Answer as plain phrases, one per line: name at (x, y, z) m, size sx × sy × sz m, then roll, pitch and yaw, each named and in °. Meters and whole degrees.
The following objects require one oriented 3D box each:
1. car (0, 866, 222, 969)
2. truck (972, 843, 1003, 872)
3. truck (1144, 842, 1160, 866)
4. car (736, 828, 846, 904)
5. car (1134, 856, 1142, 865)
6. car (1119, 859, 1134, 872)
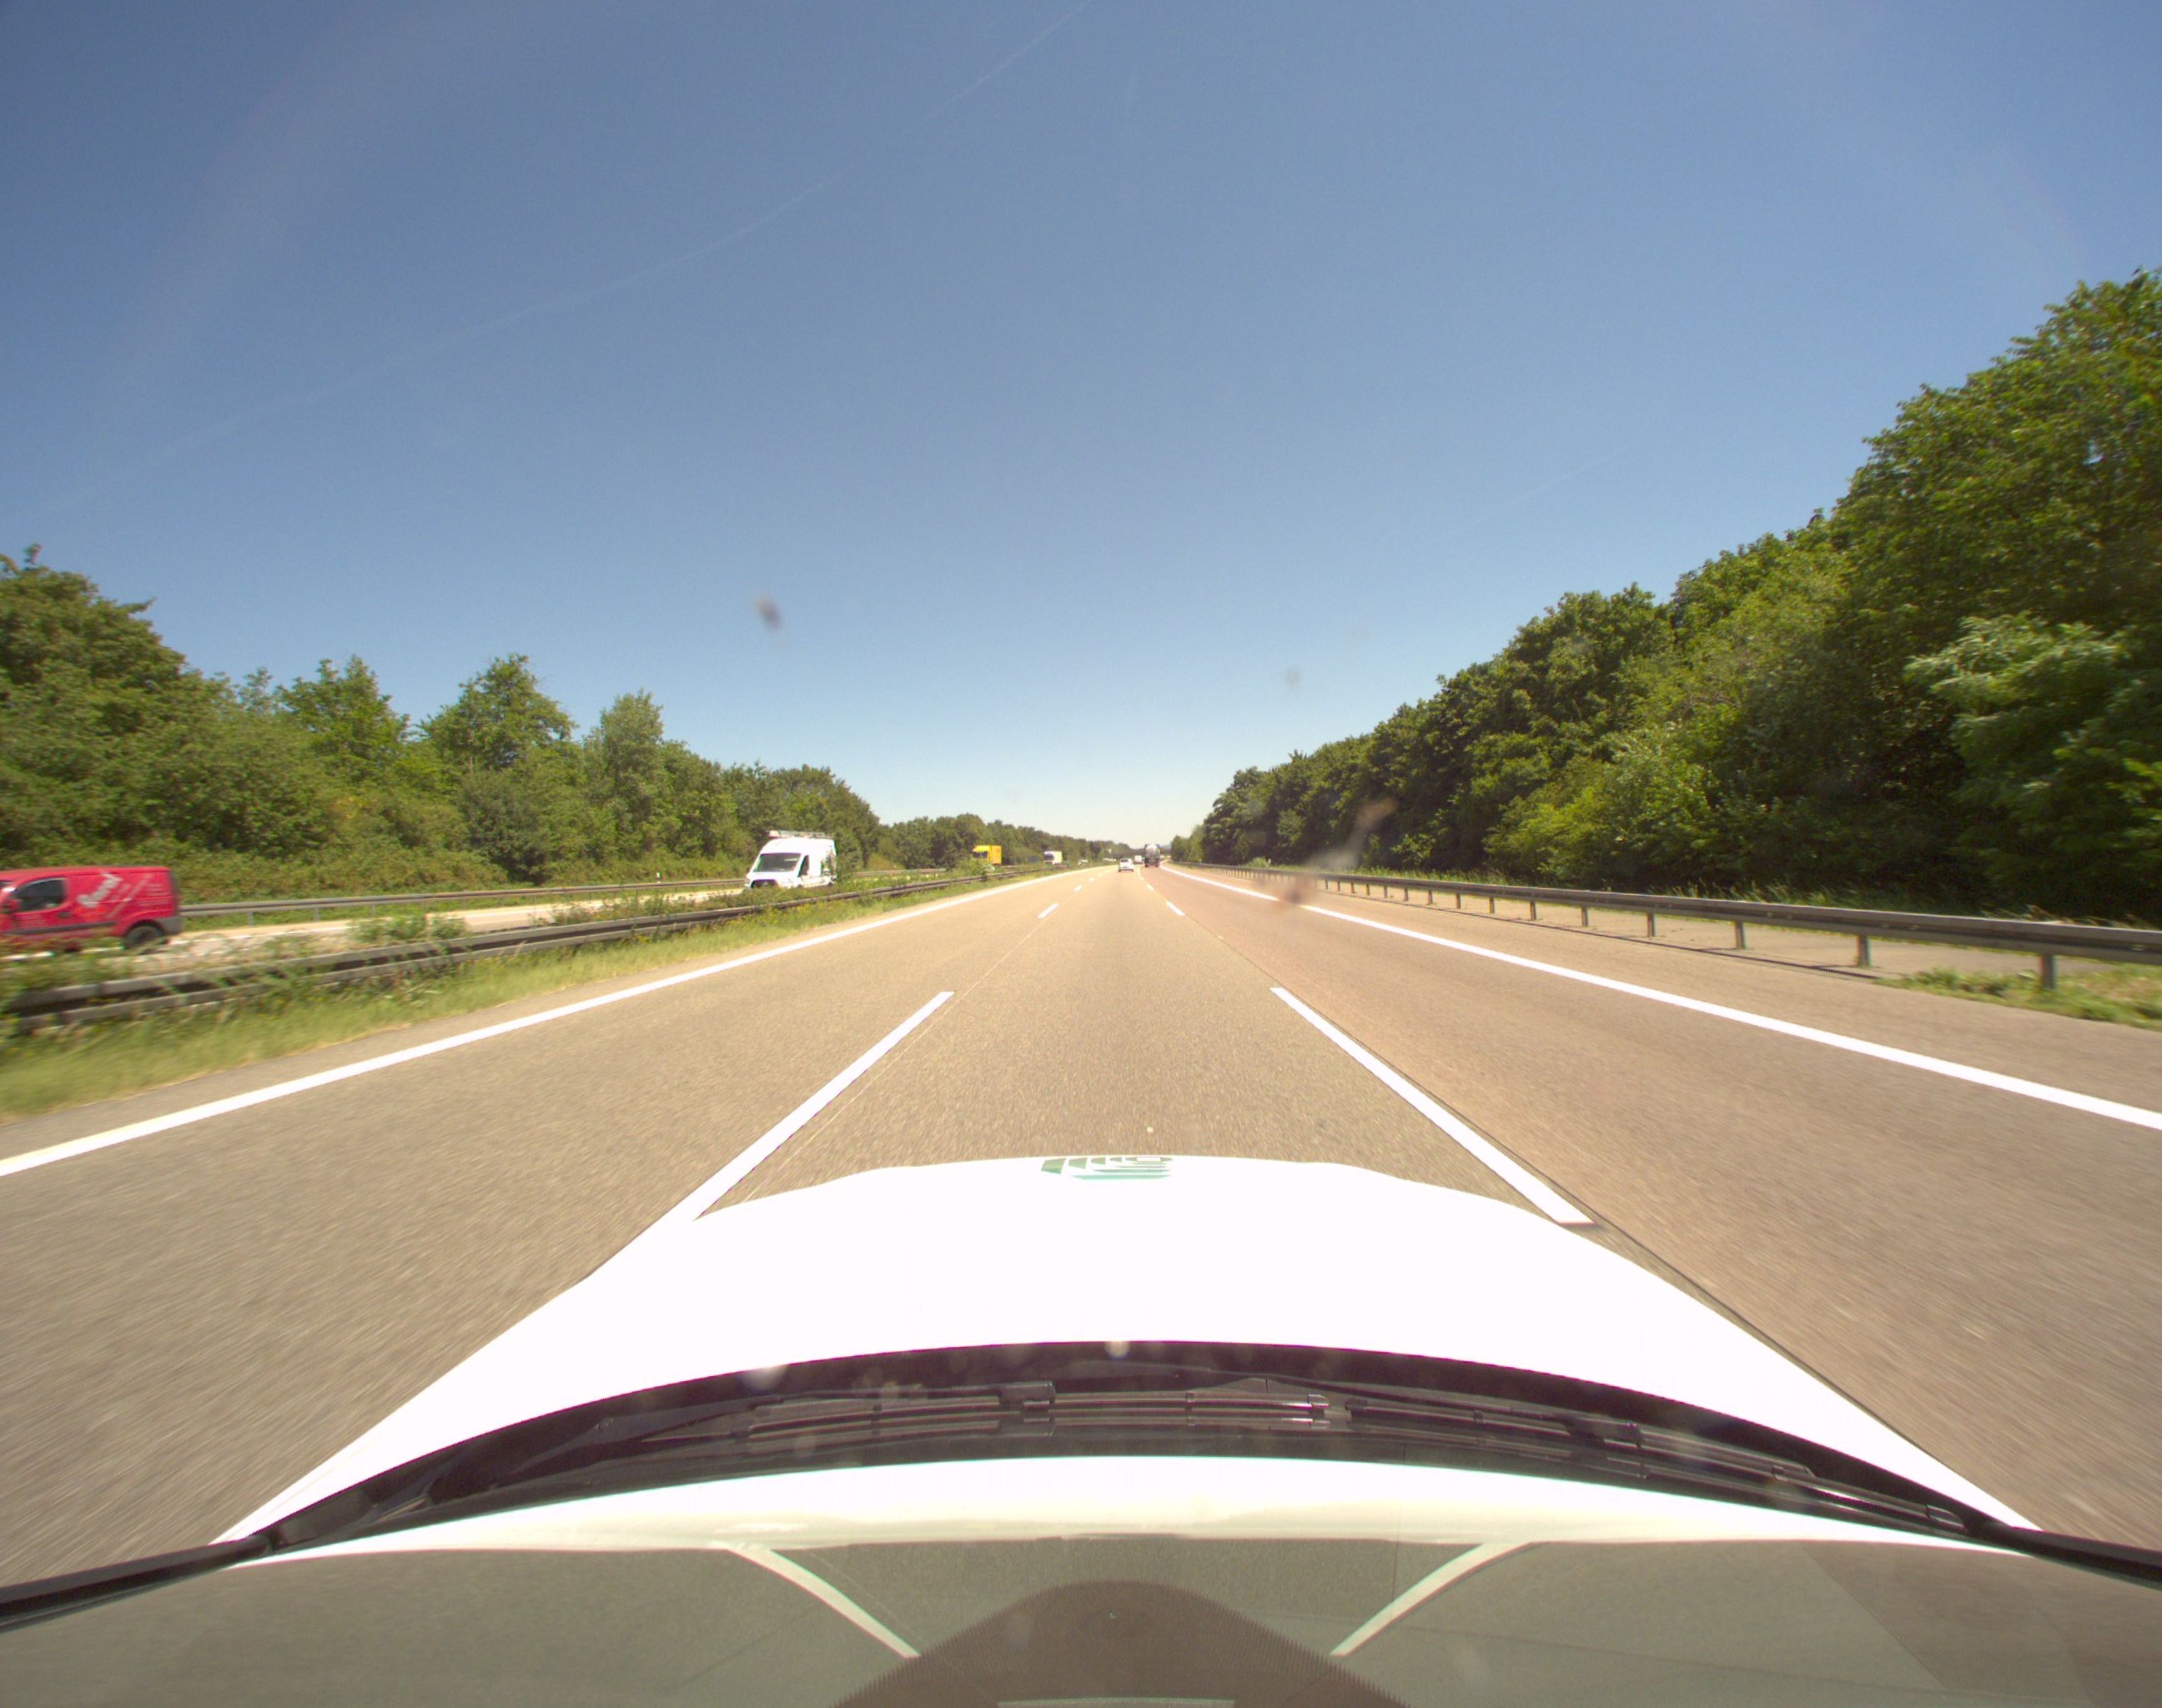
car at (-19.795, 1.153, 15.479) m, size 1.697 × 1.776 × 4.771 m, roll -1°, pitch 0°, yaw 4°
truck at (-13.969, 0.601, 122.267) m, size 2.738 × 4.040 × 10.801 m, roll -1°, pitch -1°, yaw 3°
truck at (12.524, 0.039, 144.363) m, size 2.726 × 4.052 × 10.467 m, roll -1°, pitch -1°, yaw 5°
car at (-11.558, 0.447, 33.012) m, size 2.080 × 2.779 × 5.832 m, roll -1°, pitch 0°, yaw 3°
car at (16.040, 1.821, 229.233) m, size 1.985 × 2.343 × 4.391 m, roll -1°, pitch 0°, yaw 4°
car at (5.226, 1.289, 92.879) m, size 1.620 × 1.479 × 4.004 m, roll -1°, pitch -1°, yaw 4°
